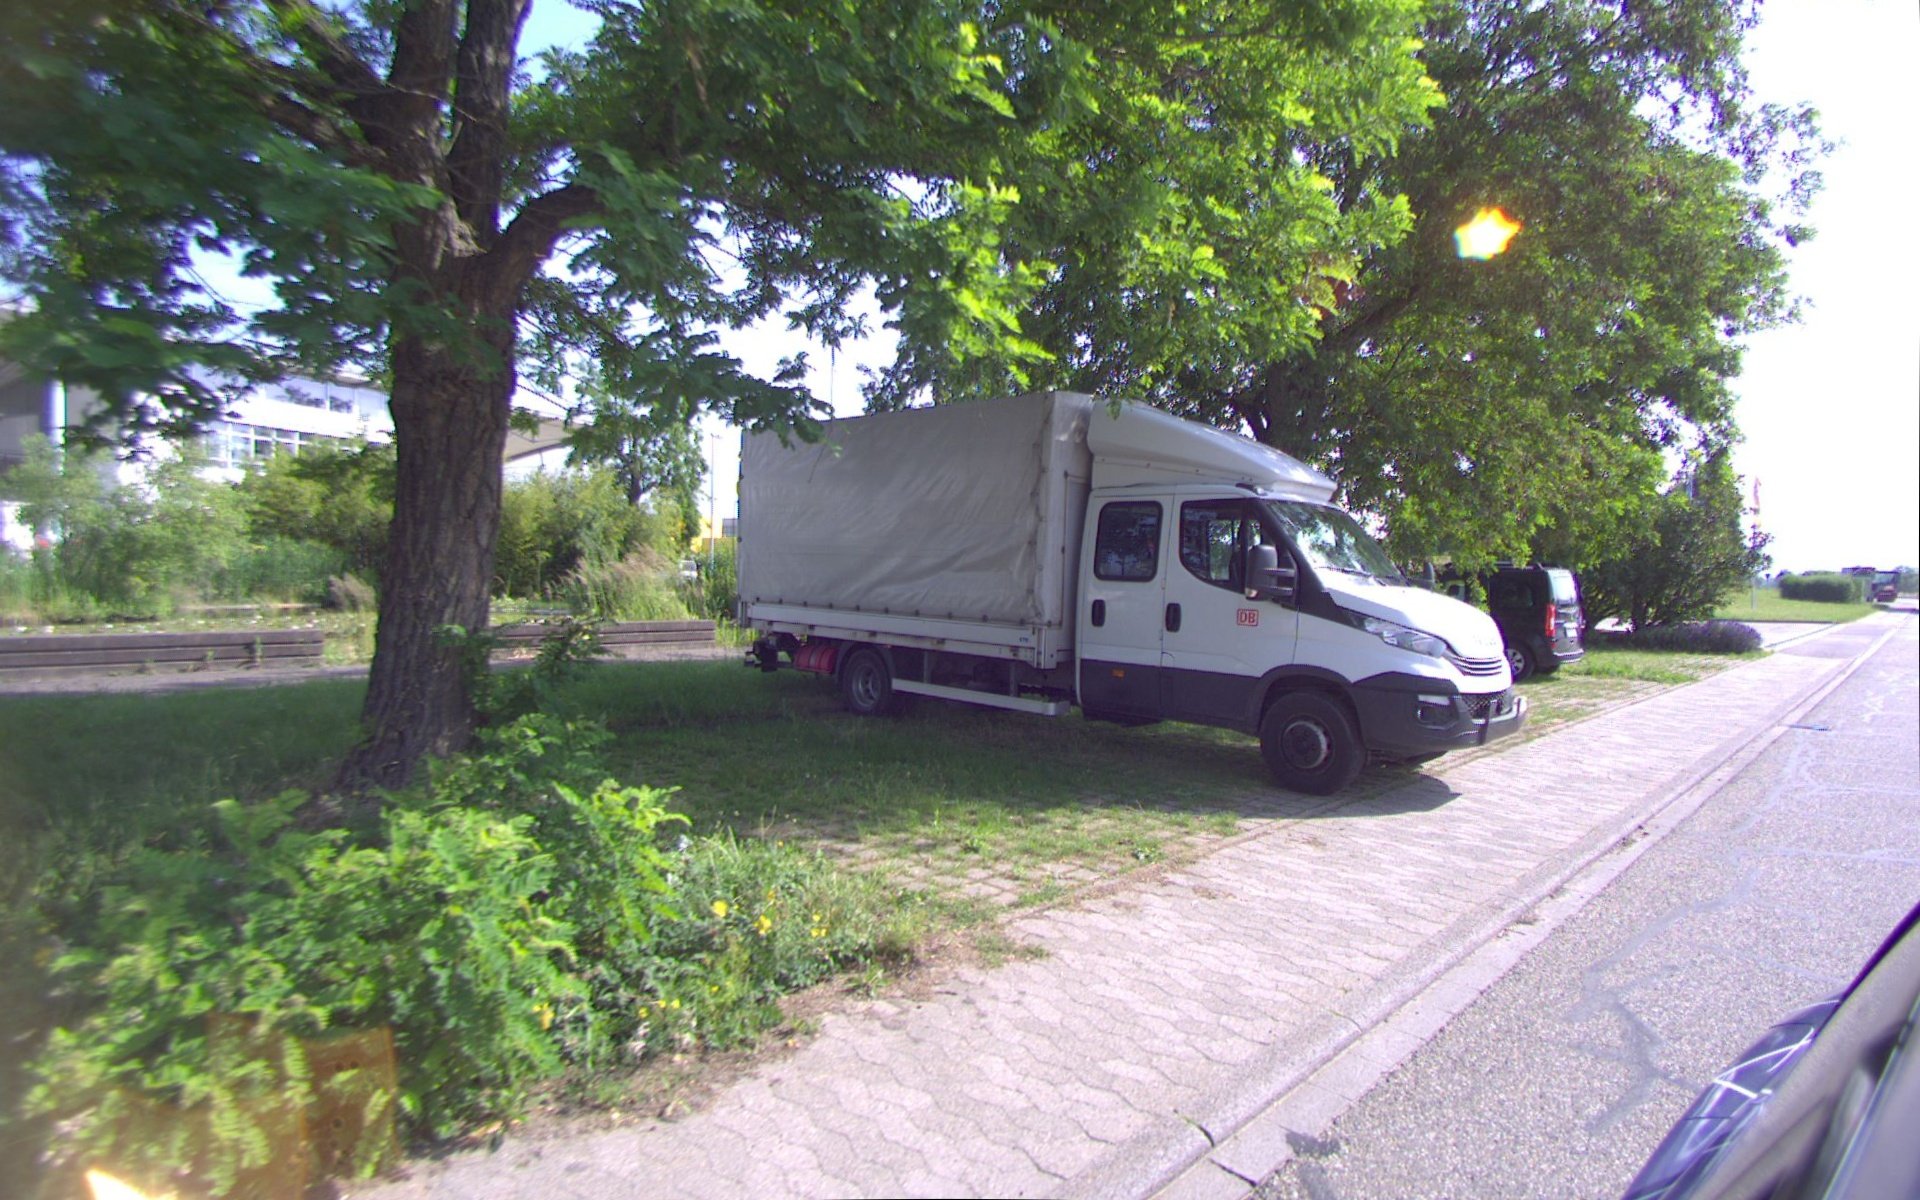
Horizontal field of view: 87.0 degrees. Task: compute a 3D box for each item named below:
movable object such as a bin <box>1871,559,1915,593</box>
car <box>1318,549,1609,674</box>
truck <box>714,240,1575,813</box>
[{"bbox_3d":[89.106,-2.330,96.715,2.423,3.048,5.677,3,3,37],"label":"movable object such as a bin"},{"bbox_3d":[8.455,0.086,17.226,1.967,1.860,3.992,-1,2,-43],"label":"car"},{"bbox_3d":[0.964,-0.616,9.910,8.213,3.411,2.698,3,3,45],"label":"truck"}]
